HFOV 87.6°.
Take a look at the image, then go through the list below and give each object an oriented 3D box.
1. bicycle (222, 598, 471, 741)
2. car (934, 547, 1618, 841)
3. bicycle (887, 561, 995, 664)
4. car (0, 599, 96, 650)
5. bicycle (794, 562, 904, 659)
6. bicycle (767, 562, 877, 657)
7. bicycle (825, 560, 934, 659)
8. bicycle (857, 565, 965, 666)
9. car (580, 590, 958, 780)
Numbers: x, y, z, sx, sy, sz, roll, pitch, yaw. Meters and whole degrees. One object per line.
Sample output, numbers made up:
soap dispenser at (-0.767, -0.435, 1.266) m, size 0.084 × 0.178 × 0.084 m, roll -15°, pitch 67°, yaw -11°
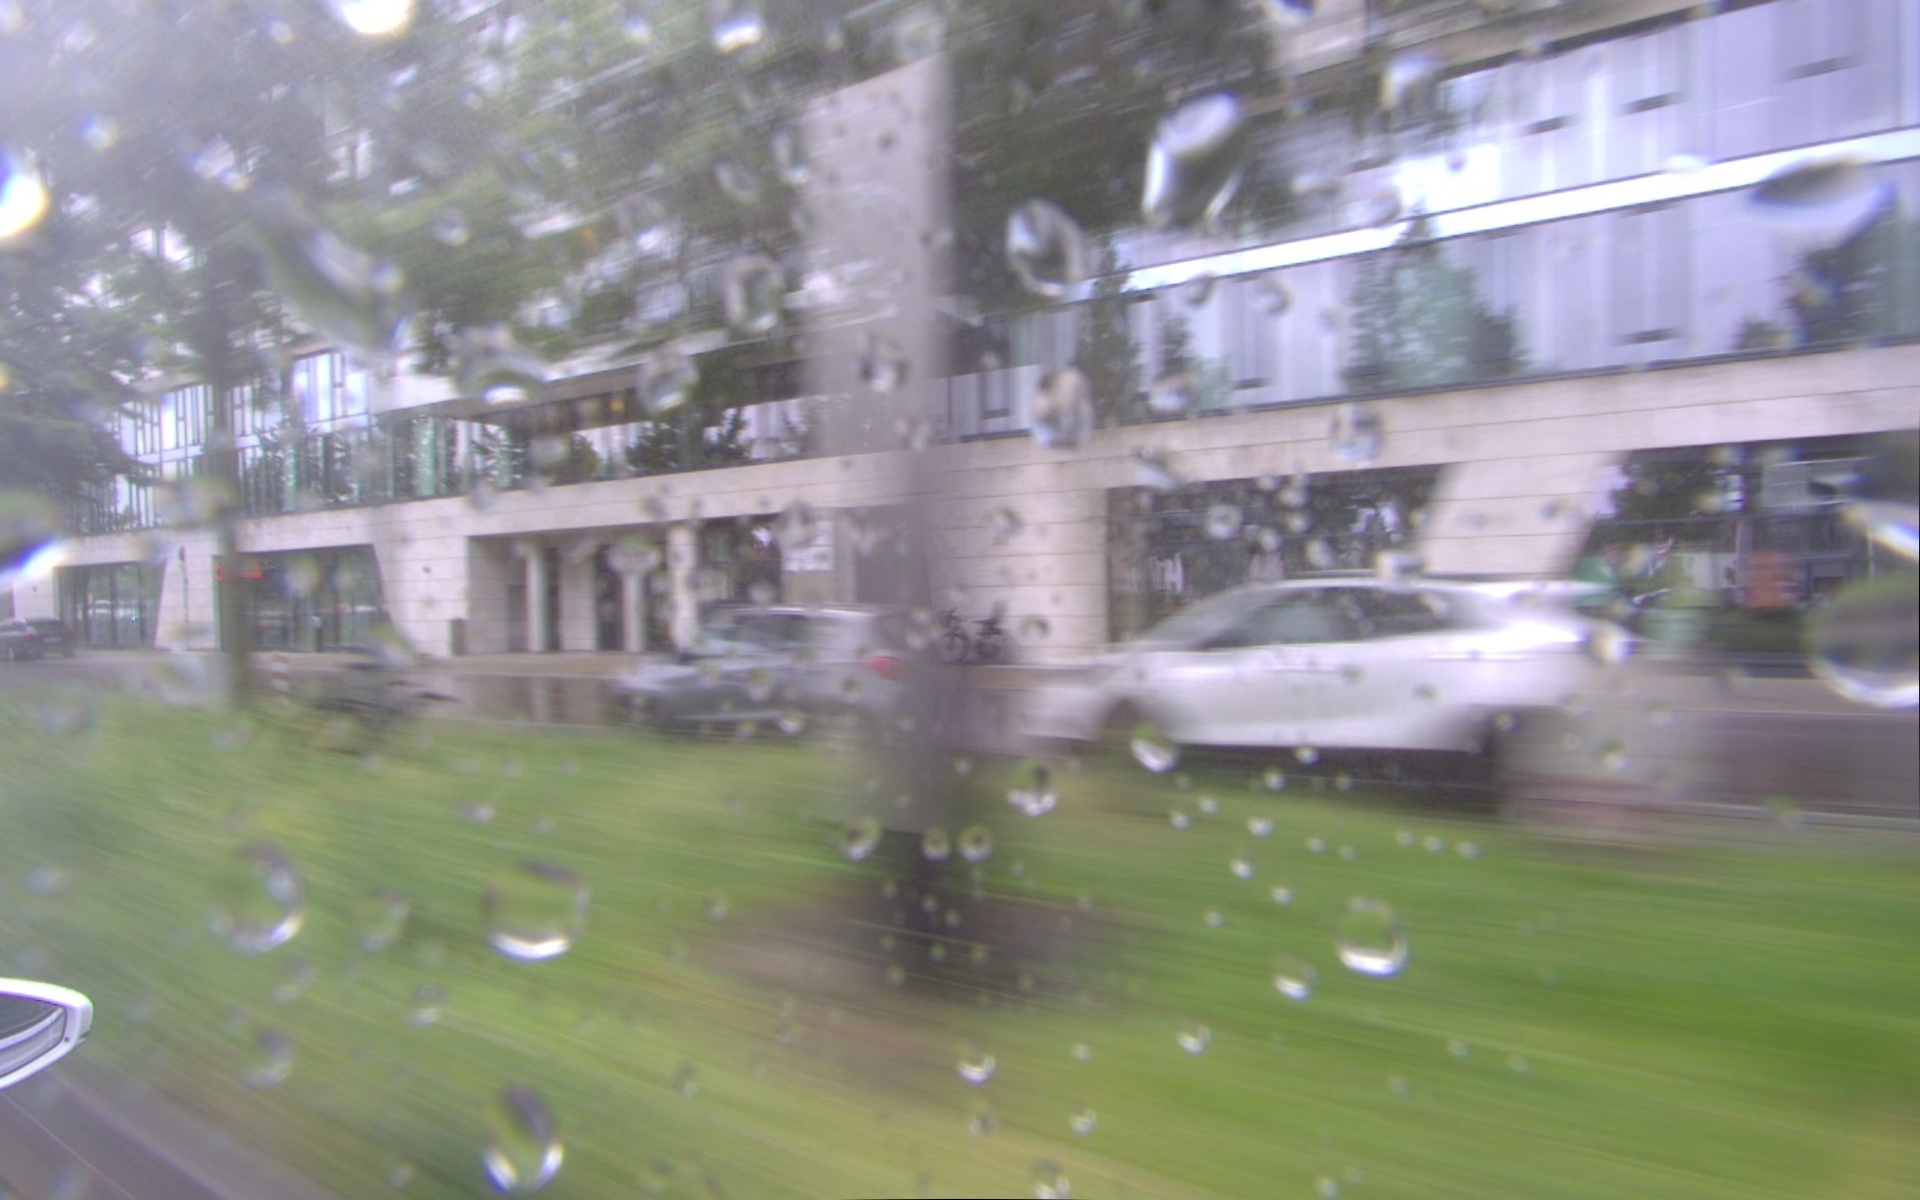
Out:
bicycle at (-5.775, 0.599, 9.579) m, size 0.484 × 1.212 × 2.032 m, roll 0°, pitch 1°, yaw 29°
car at (2.303, 0.483, 7.925) m, size 4.651 × 1.692 × 1.990 m, roll 3°, pitch 2°, yaw 30°
bicycle at (-0.326, 0.215, 19.576) m, size 0.697 × 1.886 × 2.672 m, roll 1°, pitch 2°, yaw 34°
car at (-34.072, 0.836, 36.799) m, size 4.960 × 1.523 × 1.987 m, roll 1°, pitch 6°, yaw 32°
bicycle at (-2.262, 0.186, 20.830) m, size 0.697 × 1.886 × 2.672 m, roll 1°, pitch 2°, yaw 34°
bicycle at (-2.870, 0.173, 21.246) m, size 0.697 × 1.886 × 2.672 m, roll 1°, pitch 2°, yaw 34°
bicycle at (-1.586, 0.167, 20.436) m, size 0.697 × 1.886 × 2.672 m, roll 1°, pitch 2°, yaw 34°
bicycle at (-0.930, 0.266, 20.034) m, size 0.697 × 1.886 × 2.672 m, roll 1°, pitch 2°, yaw 34°
car at (-1.994, 0.718, 10.204) m, size 3.599 × 1.511 × 1.623 m, roll 3°, pitch 2°, yaw 30°
